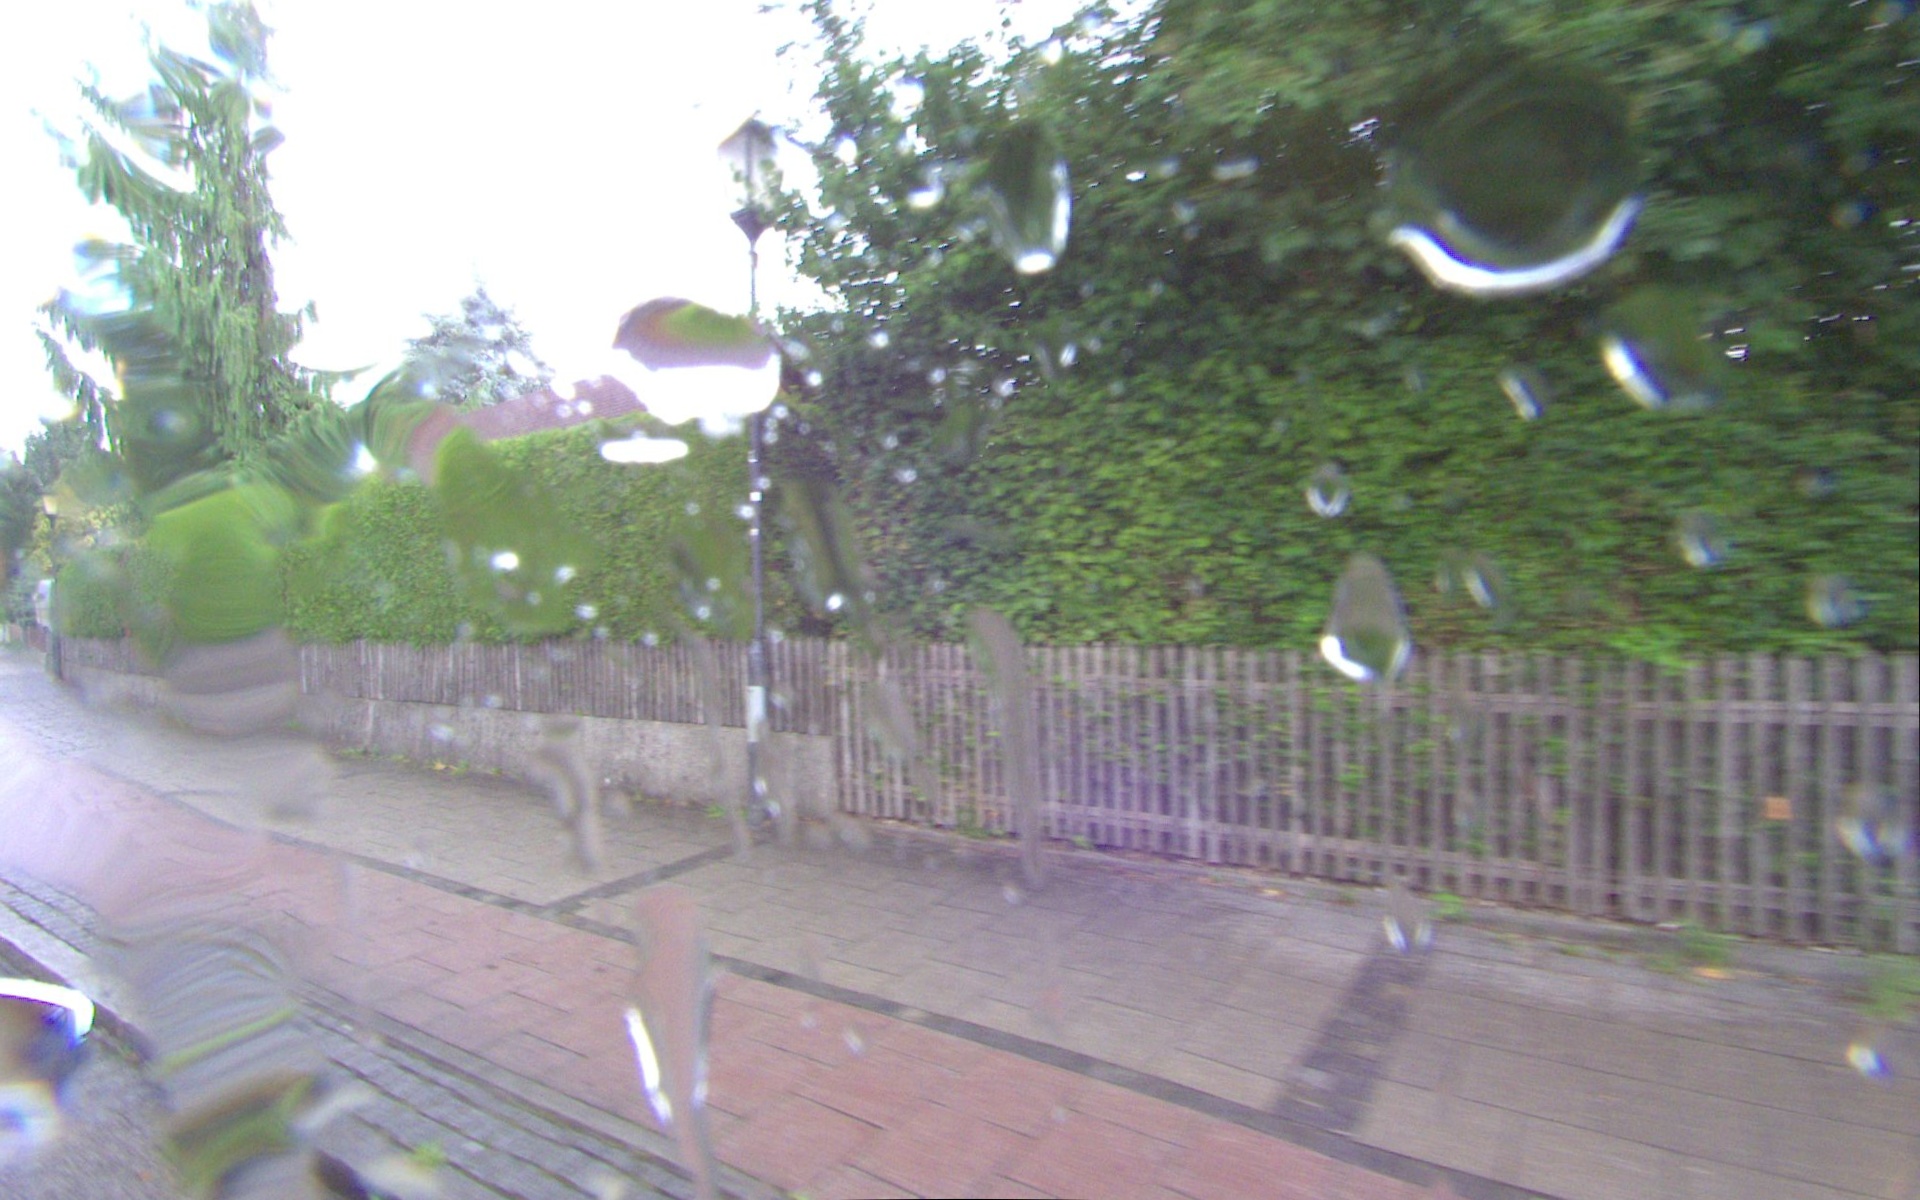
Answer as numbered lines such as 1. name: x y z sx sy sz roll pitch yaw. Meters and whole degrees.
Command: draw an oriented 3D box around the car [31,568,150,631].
1. car: -33.004 0.048 37.977 4.880 2.201 1.991 -1 -2 31
